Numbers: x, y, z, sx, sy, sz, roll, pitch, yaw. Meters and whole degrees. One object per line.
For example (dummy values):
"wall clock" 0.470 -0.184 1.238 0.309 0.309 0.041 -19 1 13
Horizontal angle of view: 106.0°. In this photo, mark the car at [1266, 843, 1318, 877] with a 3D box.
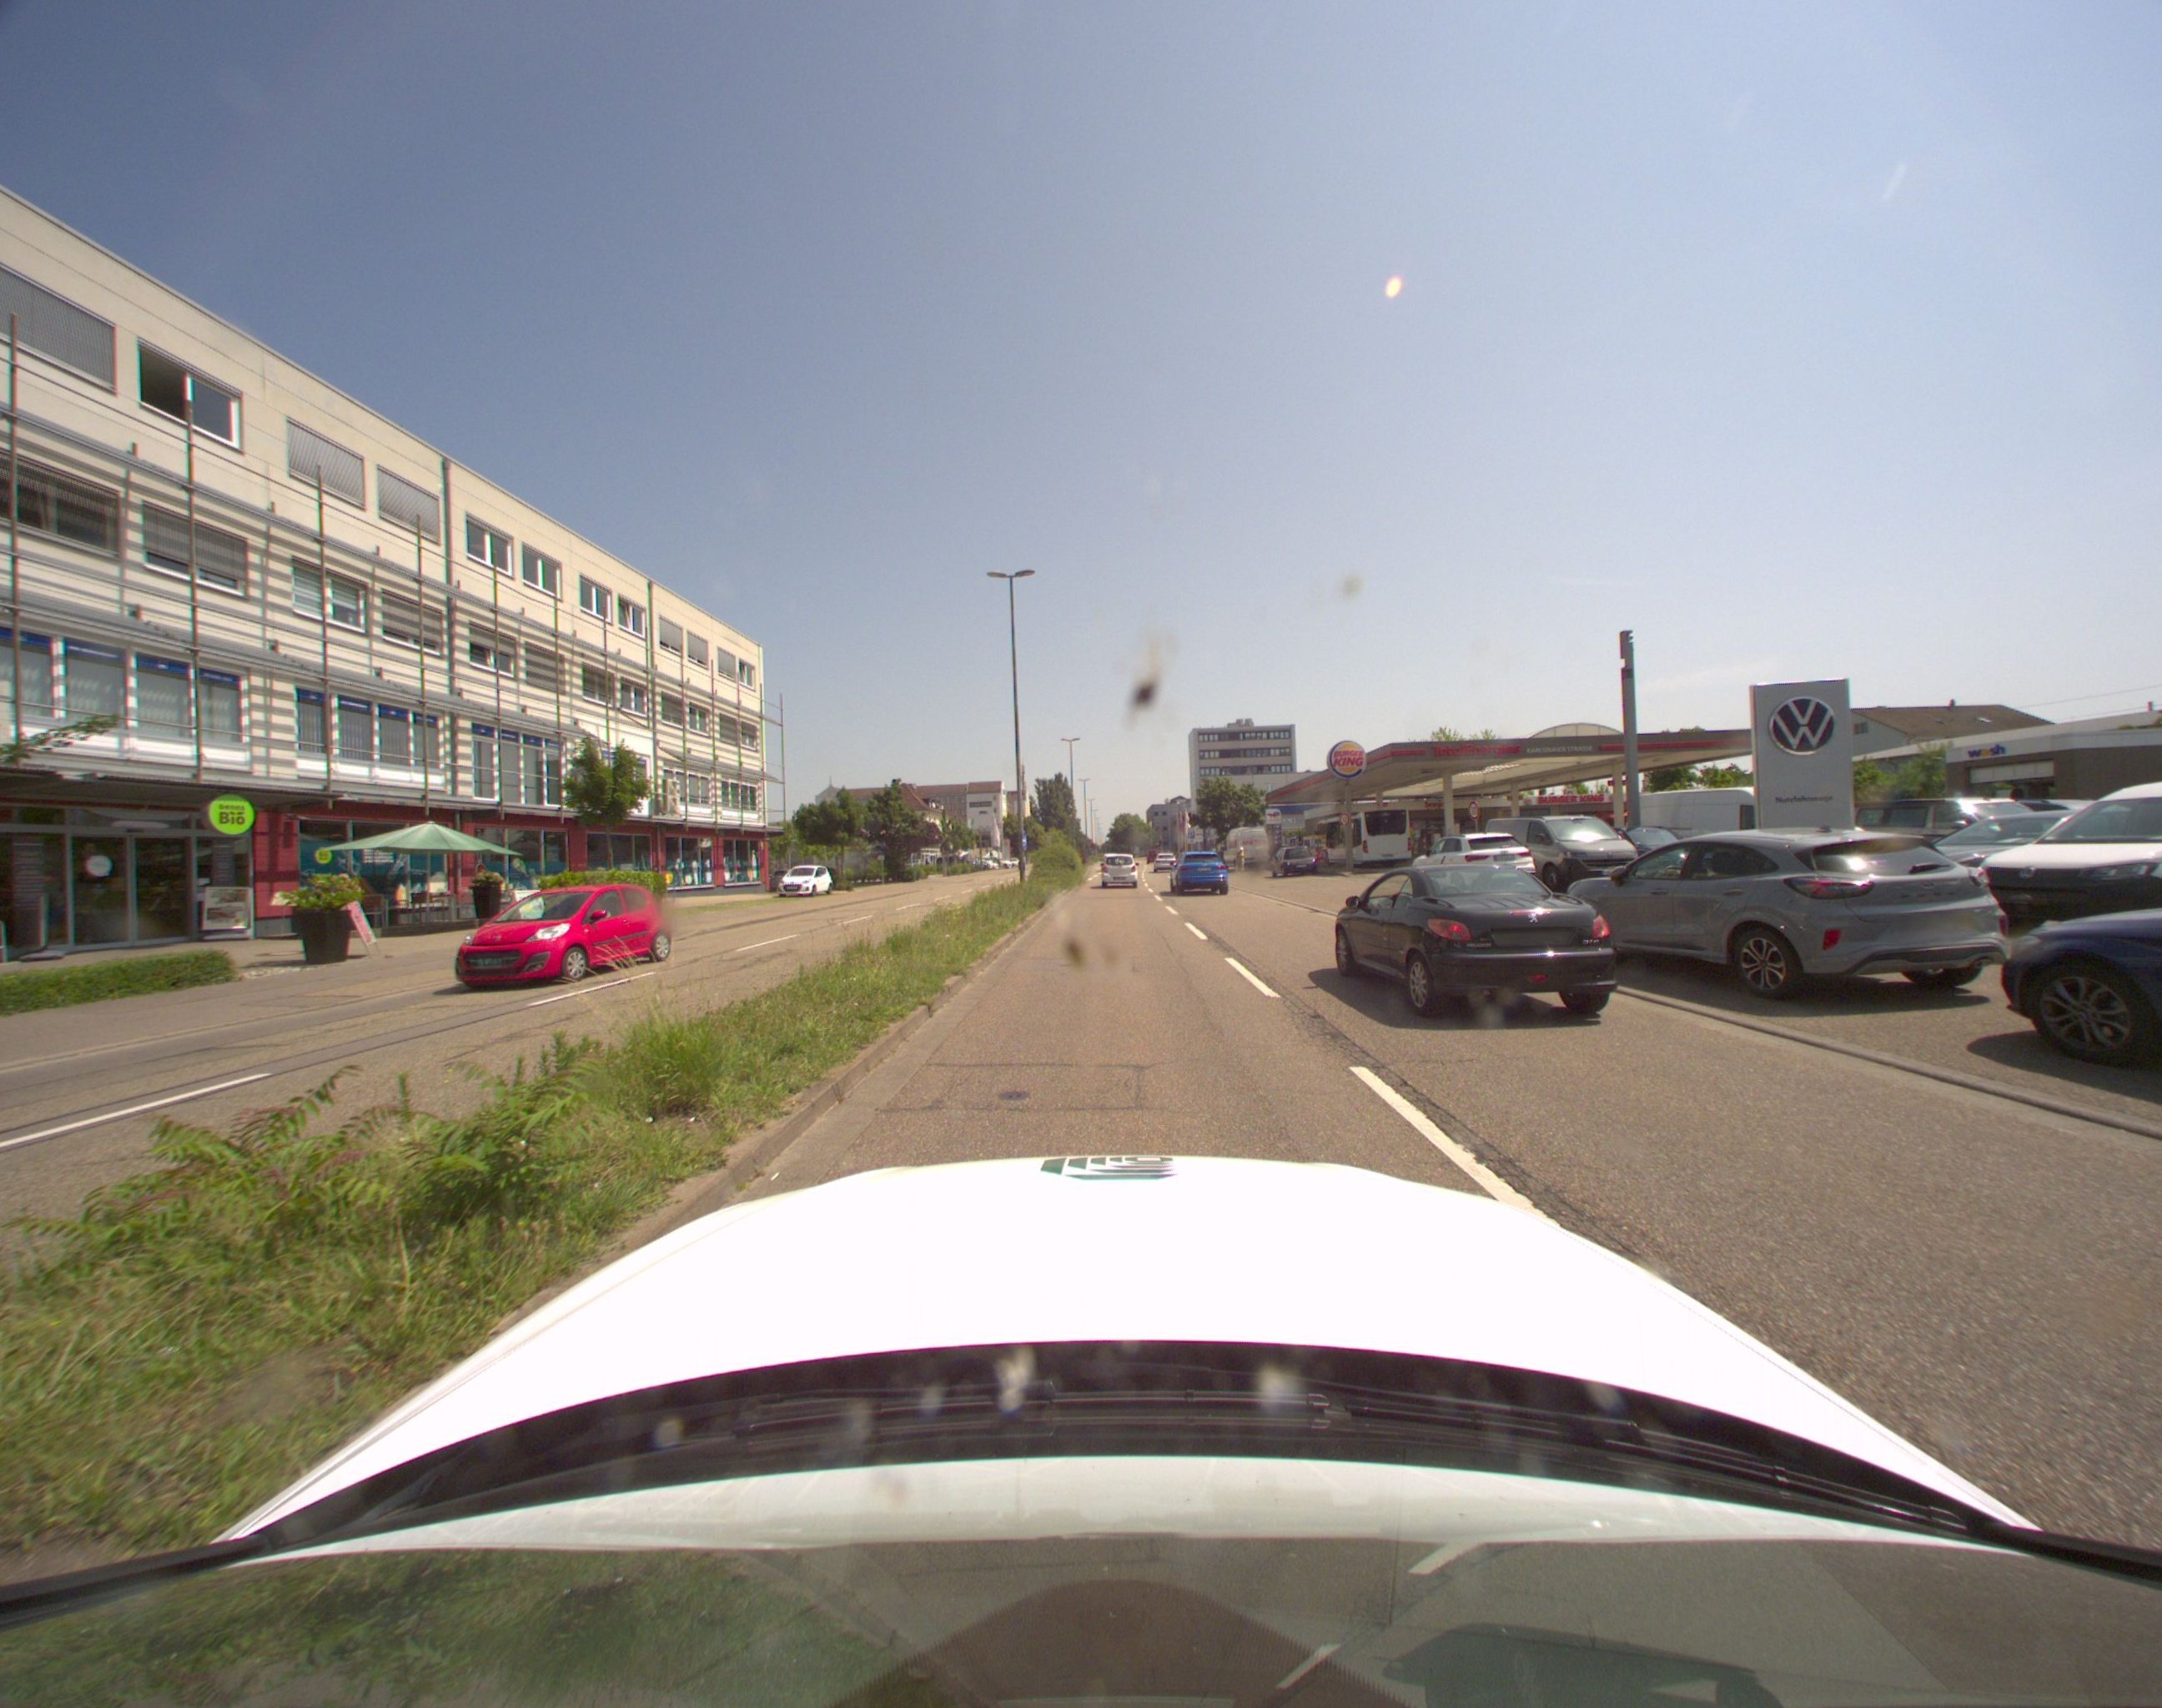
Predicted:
"car" 10.494 0.278 40.710 1.651 1.519 3.821 -4 0 2

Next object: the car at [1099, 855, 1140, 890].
"car" 1.738 0.826 37.598 1.707 1.511 3.246 -1 -1 0

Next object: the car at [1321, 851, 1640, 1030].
"car" 3.847 0.732 8.579 1.594 1.425 3.662 -2 -1 1

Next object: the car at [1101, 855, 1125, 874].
"car" 2.659 0.883 67.520 1.822 1.450 4.004 -1 -2 4

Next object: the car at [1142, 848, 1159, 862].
"car" 8.906 0.150 104.141 1.789 1.729 3.971 -1 -2 0

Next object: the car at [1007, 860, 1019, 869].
"car" -10.989 1.758 131.713 1.897 1.354 3.995 -1 -2 -3

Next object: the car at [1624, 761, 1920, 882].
"car" 18.346 -0.746 22.381 2.247 2.675 7.020 -3 0 2

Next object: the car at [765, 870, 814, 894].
"car" -20.106 1.943 56.409 1.762 1.547 4.002 -2 -2 3

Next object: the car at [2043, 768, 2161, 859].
"car" 31.522 -1.198 22.209 2.247 2.556 7.075 -3 0 2

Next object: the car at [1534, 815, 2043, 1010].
"car" 7.040 0.489 8.837 1.729 1.552 4.175 -2 0 -3

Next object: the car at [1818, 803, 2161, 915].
"car" 14.699 0.036 12.707 4.517 1.446 2.001 -3 0 1

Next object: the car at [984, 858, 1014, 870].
"car" -12.027 1.470 119.513 3.969 1.552 1.867 -1 -2 4

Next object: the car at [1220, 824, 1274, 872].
"car" 10.868 -0.373 53.961 2.125 2.839 7.312 -5 0 2

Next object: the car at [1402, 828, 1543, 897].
"car" 10.518 0.214 22.296 1.661 1.596 4.614 -3 0 1

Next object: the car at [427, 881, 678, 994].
"car" -8.259 1.224 13.131 1.624 1.424 3.452 -4 -1 2

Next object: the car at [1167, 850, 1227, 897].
"car" 4.257 0.662 30.515 1.904 1.597 4.401 -2 0 4

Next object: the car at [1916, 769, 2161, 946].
"car" 13.218 -0.047 9.749 4.398 1.882 1.909 -3 -1 0

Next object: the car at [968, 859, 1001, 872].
"car" -12.570 1.503 106.205 3.975 1.684 1.999 -1 -2 -1

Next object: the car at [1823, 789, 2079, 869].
"car" 23.473 -0.677 22.305 1.729 1.865 4.797 -3 2 -3

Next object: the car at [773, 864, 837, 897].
"car" -13.596 1.302 40.324 1.673 1.495 4.043 -1 -2 1

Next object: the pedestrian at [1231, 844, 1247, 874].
"pedestrian" 9.444 0.305 48.801 0.812 1.749 0.703 2 -1 1

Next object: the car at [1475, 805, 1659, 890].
"car" 12.939 -0.142 22.161 1.986 2.023 5.161 -1 -1 1

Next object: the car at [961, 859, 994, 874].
"car" -13.094 1.594 103.227 3.975 1.728 1.936 -1 -2 -1

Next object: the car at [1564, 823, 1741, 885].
"car" 15.496 -0.006 22.448 1.737 1.513 4.602 -1 0 1

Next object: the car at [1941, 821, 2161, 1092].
"car" 7.083 0.538 3.458 1.708 1.548 4.789 -3 -1 0

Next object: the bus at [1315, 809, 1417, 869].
"bus" 16.658 -0.875 48.740 2.791 3.078 12.303 -2 1 5

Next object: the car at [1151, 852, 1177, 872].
"car" 6.227 0.617 61.443 1.660 1.399 3.795 -2 0 3
